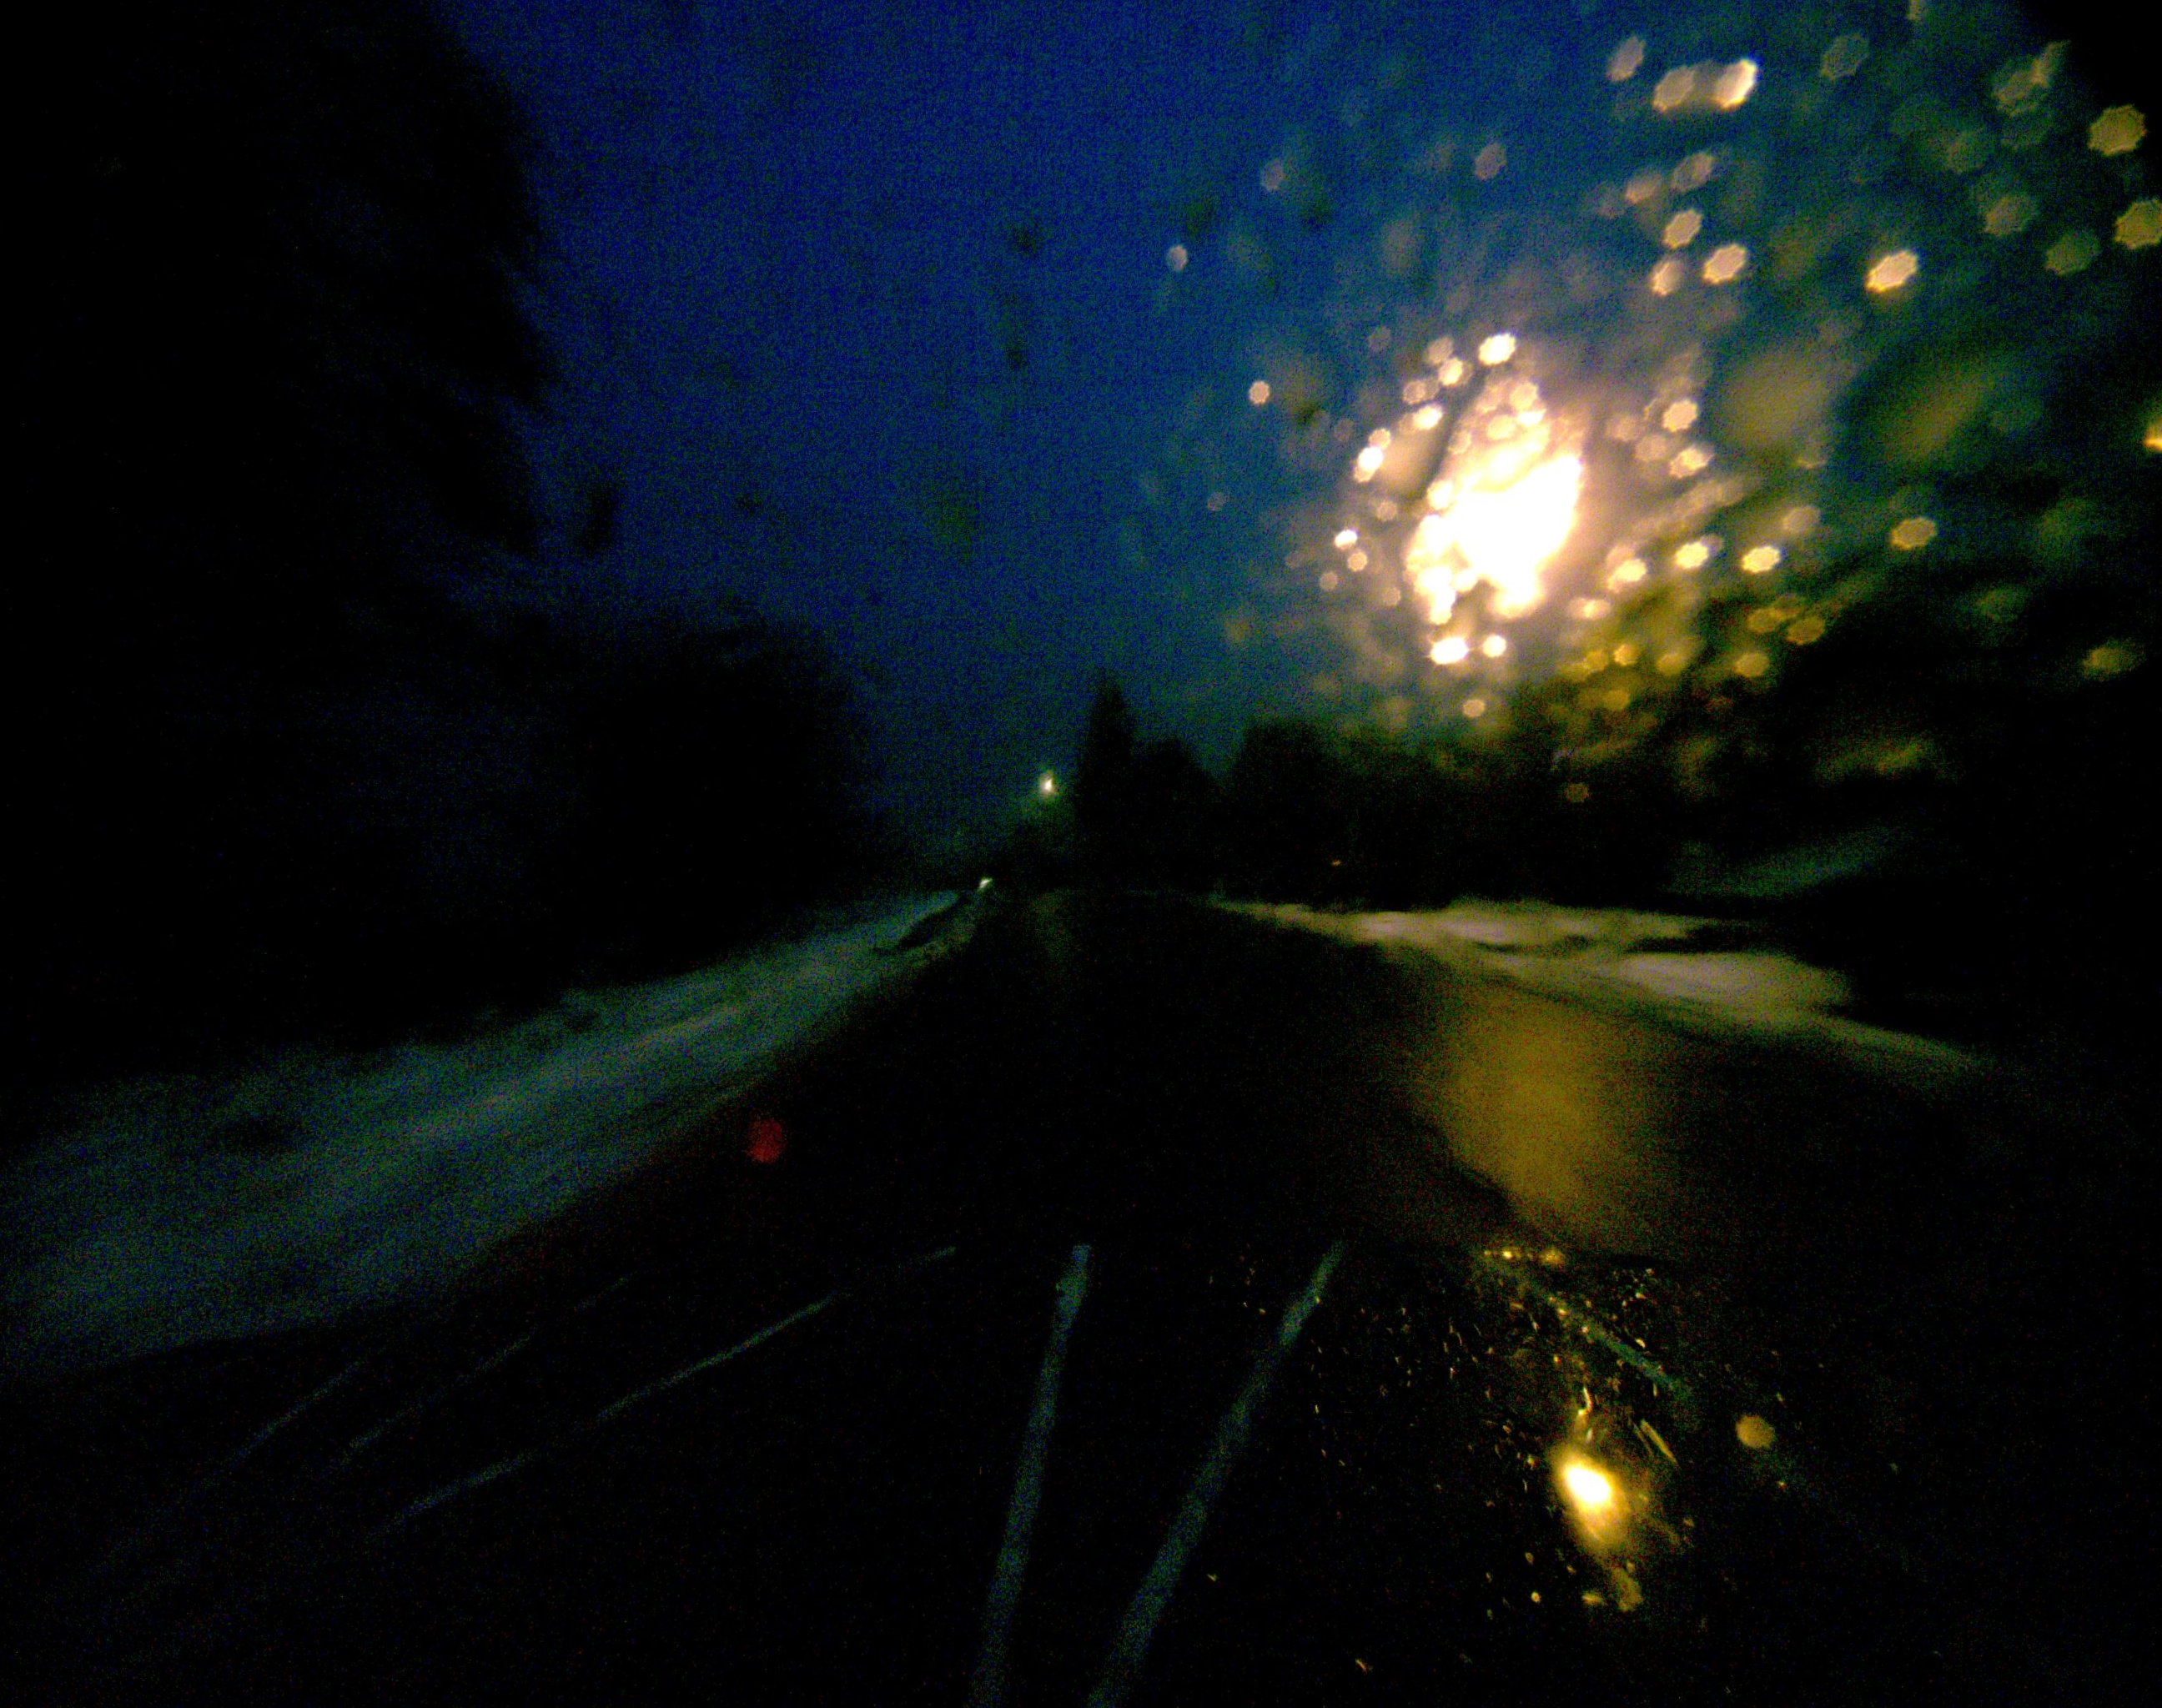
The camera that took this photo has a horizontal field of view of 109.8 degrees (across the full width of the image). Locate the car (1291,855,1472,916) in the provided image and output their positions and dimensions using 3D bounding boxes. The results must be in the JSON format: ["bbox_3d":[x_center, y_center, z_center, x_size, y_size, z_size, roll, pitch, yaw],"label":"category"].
[{"bbox_3d":[7.597,0.770,19.401,3.867,1.463,1.937,0,-1,-10],"label":"car"}]

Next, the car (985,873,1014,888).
[{"bbox_3d":[-8.818,2.900,81.734,1.884,1.417,5.386,-4,-2,-18],"label":"car"}]

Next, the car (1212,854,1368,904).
[{"bbox_3d":[6.871,0.789,25.179,4.545,1.557,2.108,0,-1,-15],"label":"car"}]

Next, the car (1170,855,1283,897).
[{"bbox_3d":[5.760,0.872,30.843,2.003,1.557,4.987,1,-1,-24],"label":"car"}]

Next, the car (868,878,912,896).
[{"bbox_3d":[-21.161,3.679,84.110,4.466,1.373,2.034,-7,-1,-17],"label":"car"}]

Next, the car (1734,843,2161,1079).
[{"bbox_3d":[8.445,0.688,6.079,4.902,1.476,2.122,0,0,-7],"label":"car"}]
